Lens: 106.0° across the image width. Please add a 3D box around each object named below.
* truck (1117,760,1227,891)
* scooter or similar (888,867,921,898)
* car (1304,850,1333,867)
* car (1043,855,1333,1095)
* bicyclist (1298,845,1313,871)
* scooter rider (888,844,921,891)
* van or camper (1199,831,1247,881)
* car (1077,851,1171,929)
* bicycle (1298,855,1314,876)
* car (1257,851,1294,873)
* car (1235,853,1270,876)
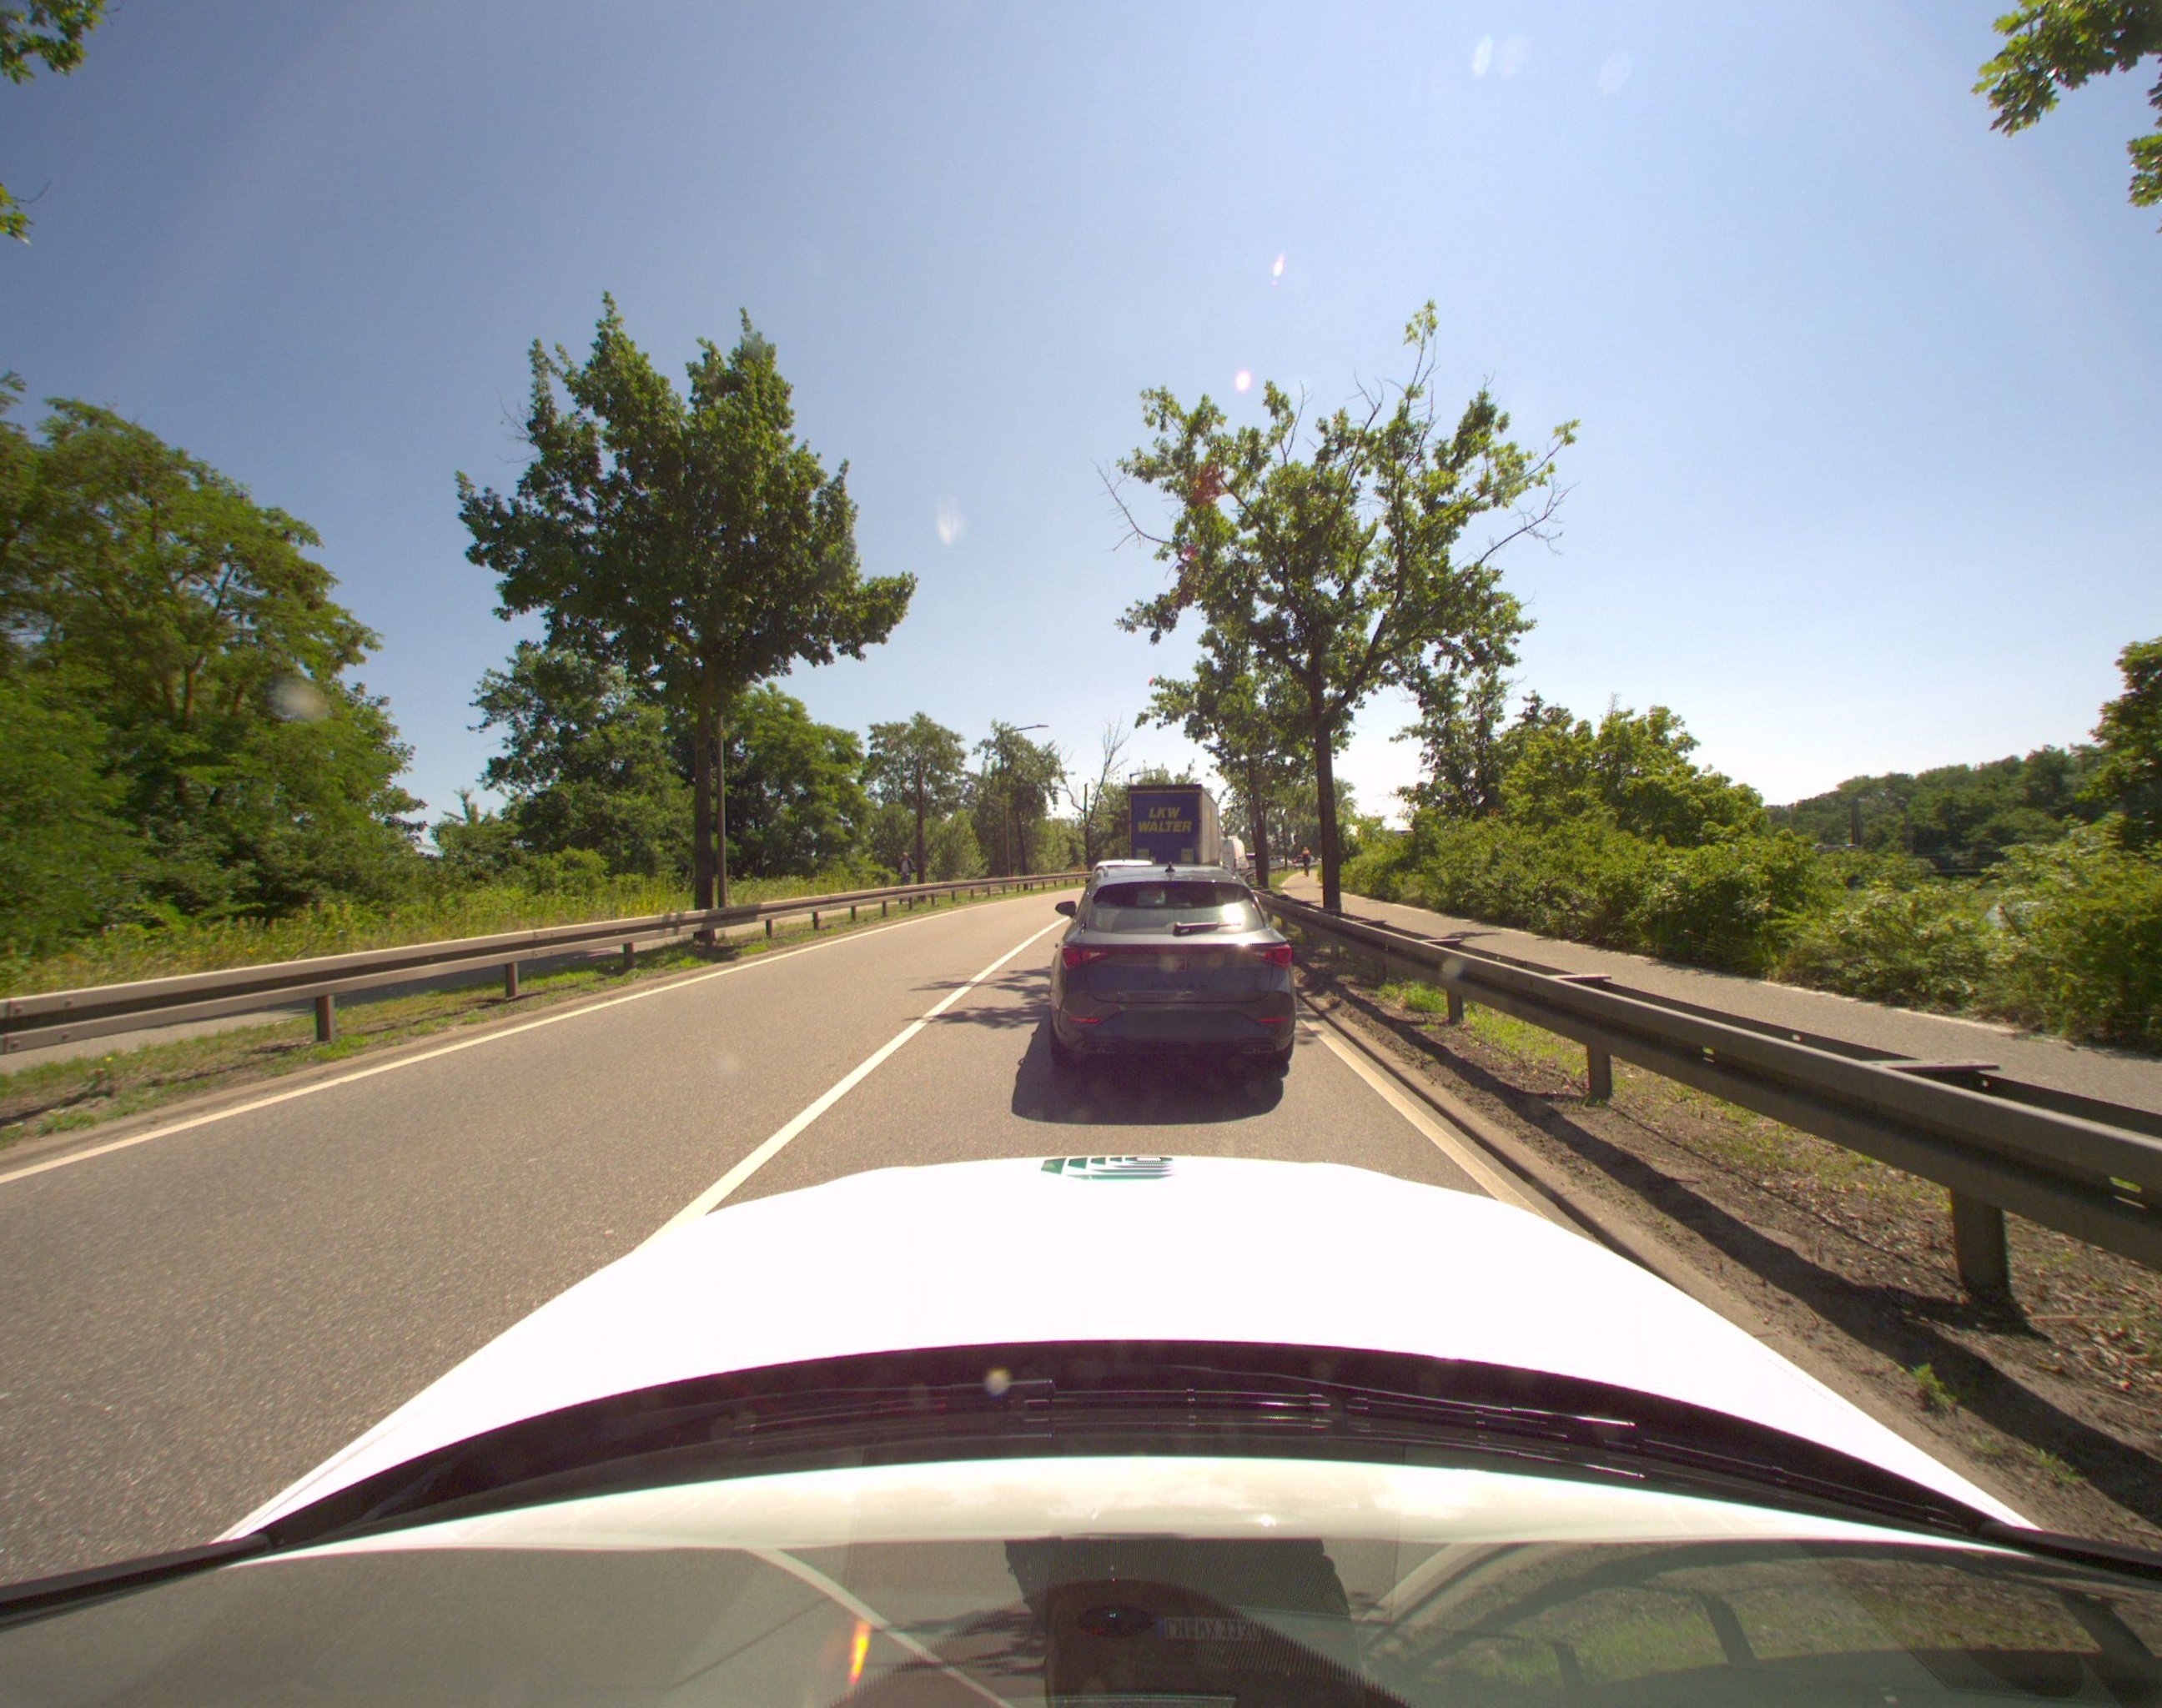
[{"bbox_3d":[4.557,-0.896,36.057,2.929,4.449,16.856,-1,-1,13],"label":"truck"},{"bbox_3d":[-6.355,1.026,29.359,0.772,1.091,1.098,-1,-1,11],"label":"scooter or similar"},{"bbox_3d":[25.519,0.487,87.245,1.975,1.768,4.783,-1,-1,29],"label":"car"},{"bbox_3d":[0.662,0.743,6.858,1.738,1.432,3.880,0,-1,0],"label":"car"},{"bbox_3d":[13.470,0.250,48.823,0.854,1.523,0.984,-1,-1,15],"label":"bicyclist"},{"bbox_3d":[-6.344,0.499,29.349,0.772,1.657,1.124,-1,-1,11],"label":"scooter rider"},{"bbox_3d":[9.195,0.152,52.333,2.448,2.998,6.111,-1,-1,15],"label":"van or camper"},{"bbox_3d":[1.010,0.723,17.781,1.801,1.508,4.006,-1,-1,5],"label":"car"},{"bbox_3d":[13.495,0.663,48.885,0.854,1.237,2.319,-1,-1,15],"label":"bicycle"},{"bbox_3d":[16.678,0.708,69.676,1.975,1.808,4.874,-1,-1,27],"label":"car"},{"bbox_3d":[12.998,0.781,61.602,1.977,1.712,4.643,-1,-1,20],"label":"car"}]
